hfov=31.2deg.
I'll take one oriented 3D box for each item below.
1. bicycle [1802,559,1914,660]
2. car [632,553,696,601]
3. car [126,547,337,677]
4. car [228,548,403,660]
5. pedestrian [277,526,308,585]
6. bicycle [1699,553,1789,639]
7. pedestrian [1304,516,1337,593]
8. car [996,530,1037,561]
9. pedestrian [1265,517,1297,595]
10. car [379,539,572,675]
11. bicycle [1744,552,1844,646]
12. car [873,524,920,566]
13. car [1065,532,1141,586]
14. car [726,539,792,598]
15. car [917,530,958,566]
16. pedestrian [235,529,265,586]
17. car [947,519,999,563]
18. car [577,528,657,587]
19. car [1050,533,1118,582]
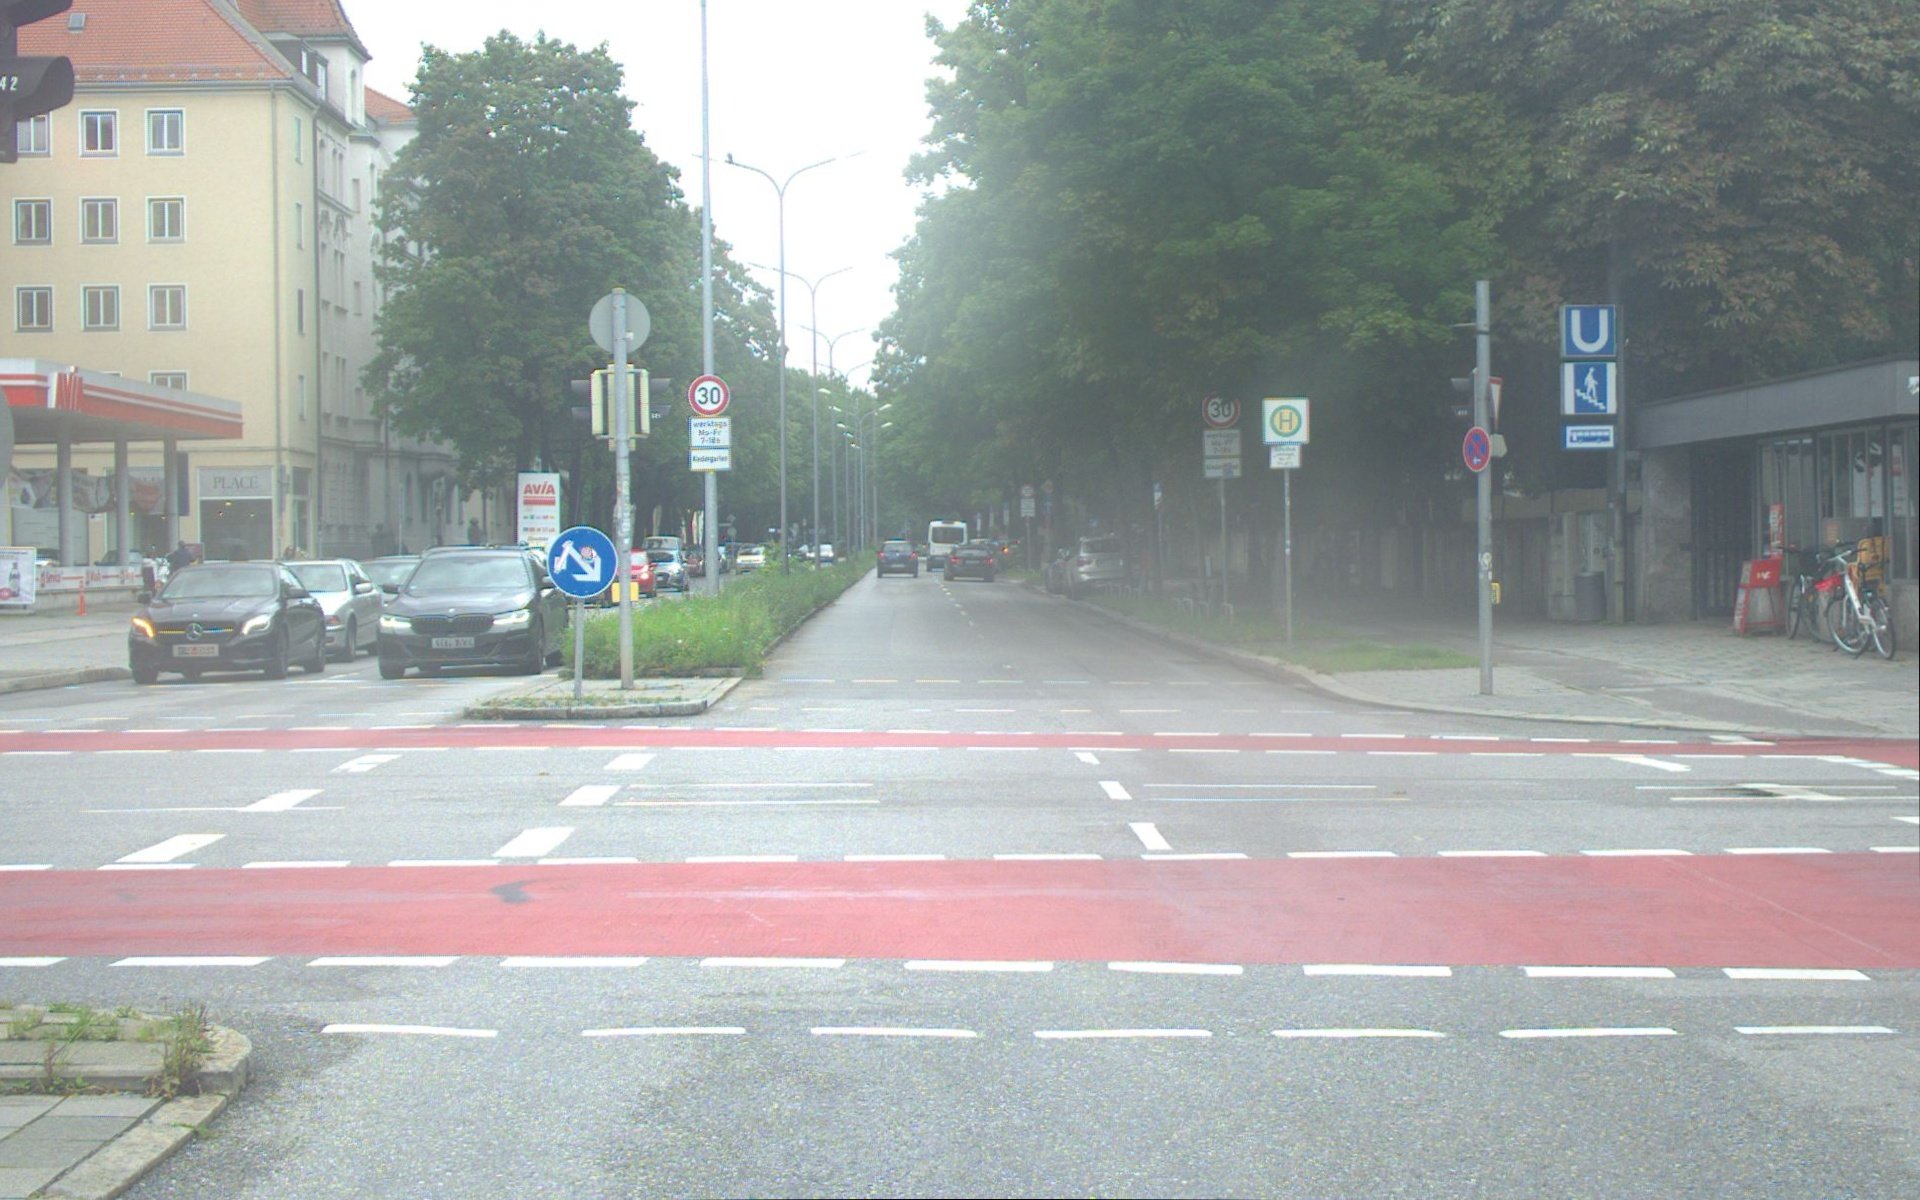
[{"bbox_3d":[9.430,0.087,36.153,0.556,1.011,2.016,-1,1,-3],"label":"bicycle"},{"bbox_3d":[-9.582,-0.759,111.481,1.759,1.488,4.000,-1,1,-1],"label":"car"},{"bbox_3d":[-8.758,0.110,41.612,1.759,1.455,4.000,-1,1,-1],"label":"car"},{"bbox_3d":[-9.026,0.023,48.401,1.759,1.455,4.000,-1,1,-1],"label":"car"},{"bbox_3d":[-18.379,-1.229,94.708,0.696,1.632,0.738,-1,1,-1],"label":"pedestrian"},{"bbox_3d":[9.625,-0.057,42.269,0.556,1.011,2.016,-1,1,-3],"label":"bicycle"},{"bbox_3d":[7.836,-0.989,74.770,0.678,1.677,0.682,0,1,5],"label":"pedestrian"},{"bbox_3d":[2.616,-2.534,159.367,1.743,1.422,3.899,-1,1,-1],"label":"car"},{"bbox_3d":[6.962,-0.953,74.593,0.678,1.677,0.682,0,1,5],"label":"pedestrian"},{"bbox_3d":[-5.650,0.038,40.494,1.759,1.488,4.000,-1,1,-1],"label":"car"},{"bbox_3d":[9.418,-0.025,38.884,0.556,1.011,2.016,-1,1,-3],"label":"bicycle"},{"bbox_3d":[-2.611,-2.263,141.366,1.857,1.678,4.000,-1,1,-1],"label":"car"},{"bbox_3d":[3.726,-1.085,89.770,1.743,1.358,3.807,-1,1,-1],"label":"car"},{"bbox_3d":[-4.989,-0.794,85.566,1.468,1.394,3.700,-1,1,-1],"label":"car"},{"bbox_3d":[-1.132,-2.631,172.126,1.993,1.750,4.000,-1,1,-1],"label":"car"},{"bbox_3d":[-20.338,-1.221,98.532,0.696,1.632,0.738,-1,1,-1],"label":"pedestrian"},{"bbox_3d":[0.493,-2.284,133.755,1.922,1.678,4.000,1,1,-1],"label":"car"},{"bbox_3d":[-9.951,-1.266,100.080,1.876,1.662,4.000,-1,1,1],"label":"car"},{"bbox_3d":[3.580,-1.239,99.755,1.743,1.358,3.807,-1,1,-1],"label":"car"}]
